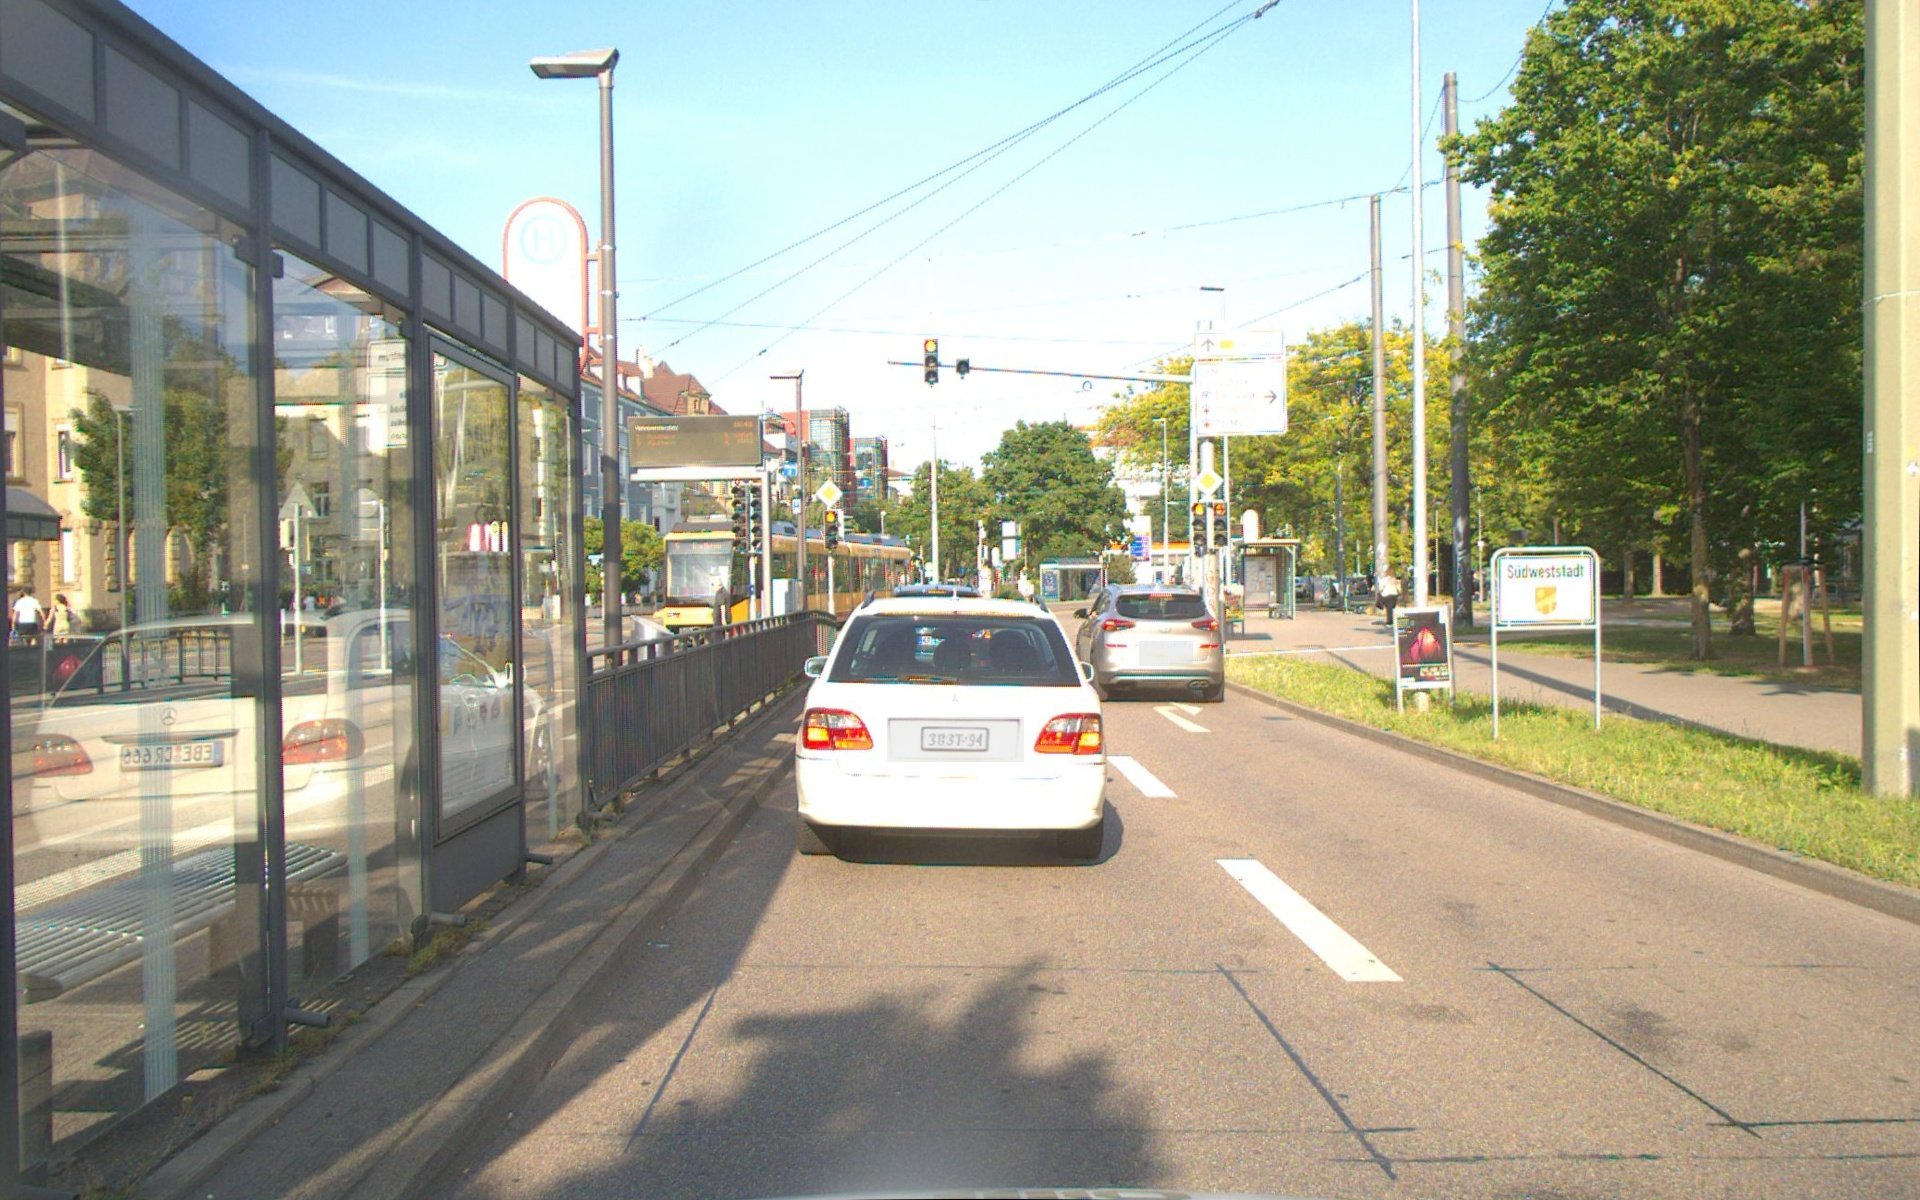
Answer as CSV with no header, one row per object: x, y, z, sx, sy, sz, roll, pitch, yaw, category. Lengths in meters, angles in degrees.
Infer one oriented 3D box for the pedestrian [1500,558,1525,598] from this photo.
25.545,-1.032,76.483,0.784,1.816,0.838,-1,0,-5,pedestrian

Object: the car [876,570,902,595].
-6.079,-1.476,141.766,2.032,2.049,4.162,1,0,-1,car

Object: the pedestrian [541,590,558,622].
-20.050,0.296,80.766,0.616,1.568,0.711,-1,0,-1,pedestrian

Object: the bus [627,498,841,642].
-6.260,-0.734,48.686,3.042,3.669,12.384,1,0,7,bus

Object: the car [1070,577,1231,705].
2.697,0.540,24.158,1.846,1.680,3.647,-1,0,-1,car

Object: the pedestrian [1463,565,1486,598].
23.720,-0.843,76.198,0.809,1.513,0.690,-1,0,-42,pedestrian

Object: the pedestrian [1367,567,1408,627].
11.996,-0.082,46.394,0.748,1.665,0.797,-1,0,-40,pedestrian

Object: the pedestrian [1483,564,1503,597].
24.270,-0.887,75.304,0.796,1.513,0.700,-1,0,24,pedestrian

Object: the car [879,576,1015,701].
-0.204,0.510,24.514,1.846,1.680,3.647,1,0,-1,car

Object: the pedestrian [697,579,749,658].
-5.078,0.391,35.415,0.788,1.674,0.745,-1,0,-45,pedestrian

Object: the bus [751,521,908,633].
-4.535,-0.732,61.105,3.042,3.669,12.601,1,0,8,bus

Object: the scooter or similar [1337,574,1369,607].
13.698,-0.337,57.716,0.413,1.136,1.322,-1,0,-20,scooter or similar

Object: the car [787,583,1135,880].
-0.019,0.658,10.206,1.759,1.496,3.647,0,0,-1,car
